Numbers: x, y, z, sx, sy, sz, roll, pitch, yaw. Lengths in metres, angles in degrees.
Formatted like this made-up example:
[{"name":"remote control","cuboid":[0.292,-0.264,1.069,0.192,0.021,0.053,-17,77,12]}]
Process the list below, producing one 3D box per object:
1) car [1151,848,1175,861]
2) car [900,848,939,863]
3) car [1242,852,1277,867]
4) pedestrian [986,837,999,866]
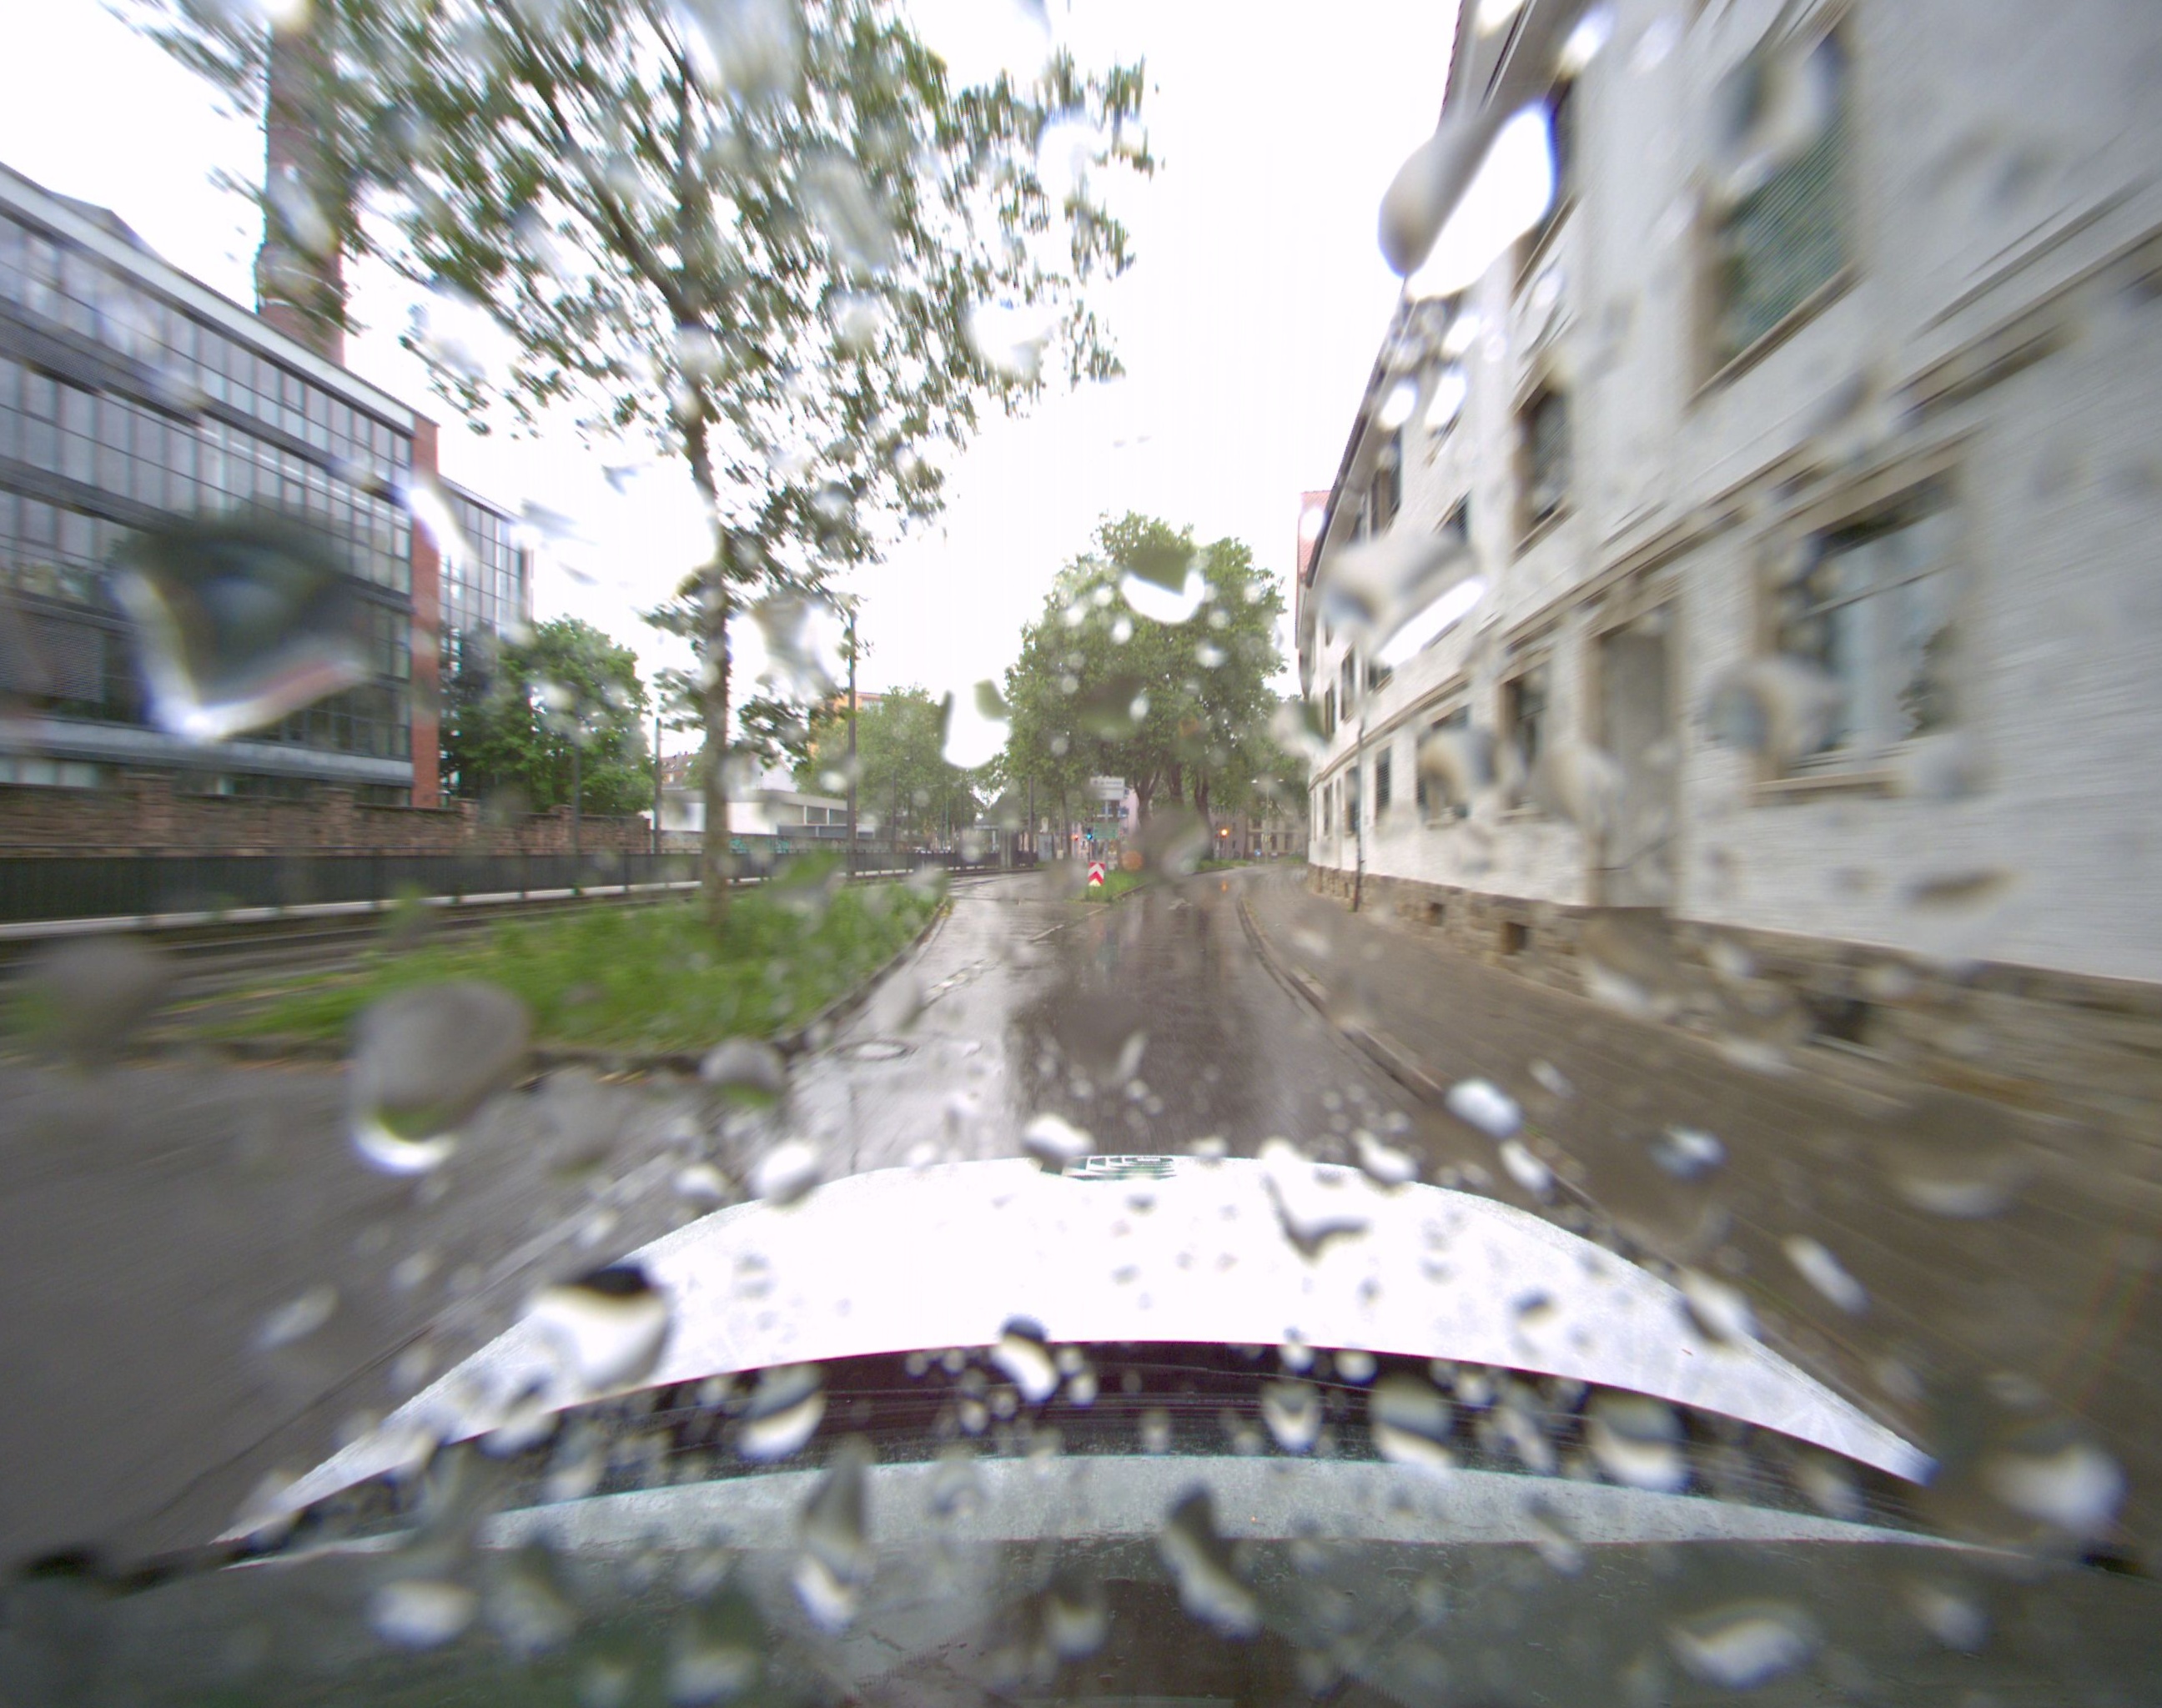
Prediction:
[{"name":"car","cuboid":[9.928,0.061,98.566,1.709,1.552,3.580,-1,0,26]},{"name":"car","cuboid":[-18.111,0.176,91.380,3.967,1.651,1.985,-1,0,32]},{"name":"car","cuboid":[19.494,0.585,88.939,3.446,1.523,1.529,-1,0,29]},{"name":"pedestrian","cuboid":[-5.241,-0.132,48.350,0.583,1.731,0.564,-1,0,-22]}]
